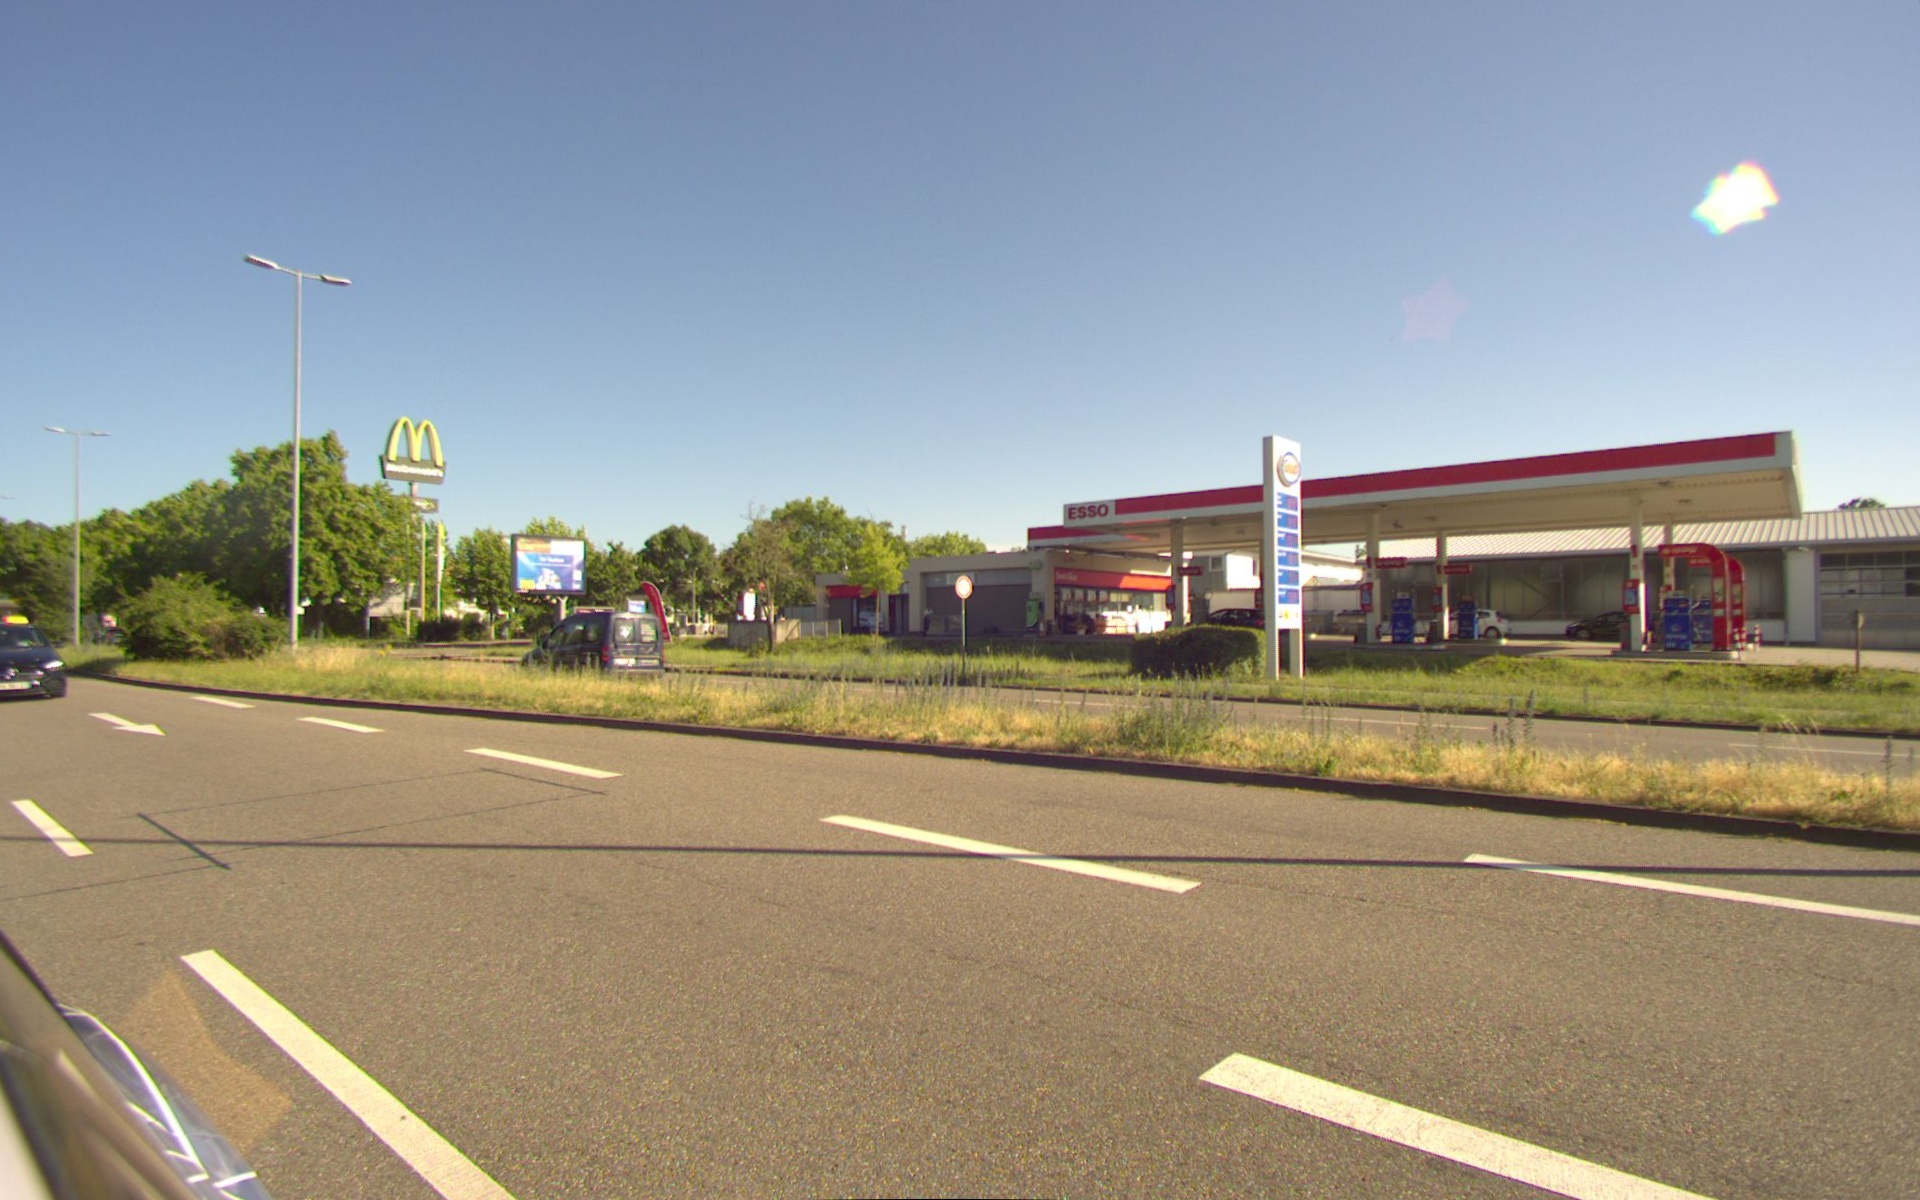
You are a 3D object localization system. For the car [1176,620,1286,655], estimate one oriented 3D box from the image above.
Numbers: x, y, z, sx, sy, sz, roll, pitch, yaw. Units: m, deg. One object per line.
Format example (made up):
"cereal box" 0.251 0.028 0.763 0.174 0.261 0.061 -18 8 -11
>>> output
"car" 11.337 1.557 42.482 3.998 1.416 1.973 -2 -2 41

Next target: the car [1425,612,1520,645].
"car" 25.399 1.384 50.213 3.855 1.500 1.973 -1 0 41

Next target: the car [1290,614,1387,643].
"car" 20.571 1.538 55.081 4.540 1.477 1.973 -1 0 41

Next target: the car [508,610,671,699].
"car" -8.602 1.174 23.321 4.292 1.862 1.660 -1 0 41

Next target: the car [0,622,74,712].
"car" -19.103 1.269 19.991 4.580 1.614 1.765 -2 -1 40

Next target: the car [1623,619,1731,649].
"car" 31.624 1.470 44.693 3.729 1.196 1.658 -1 0 41
